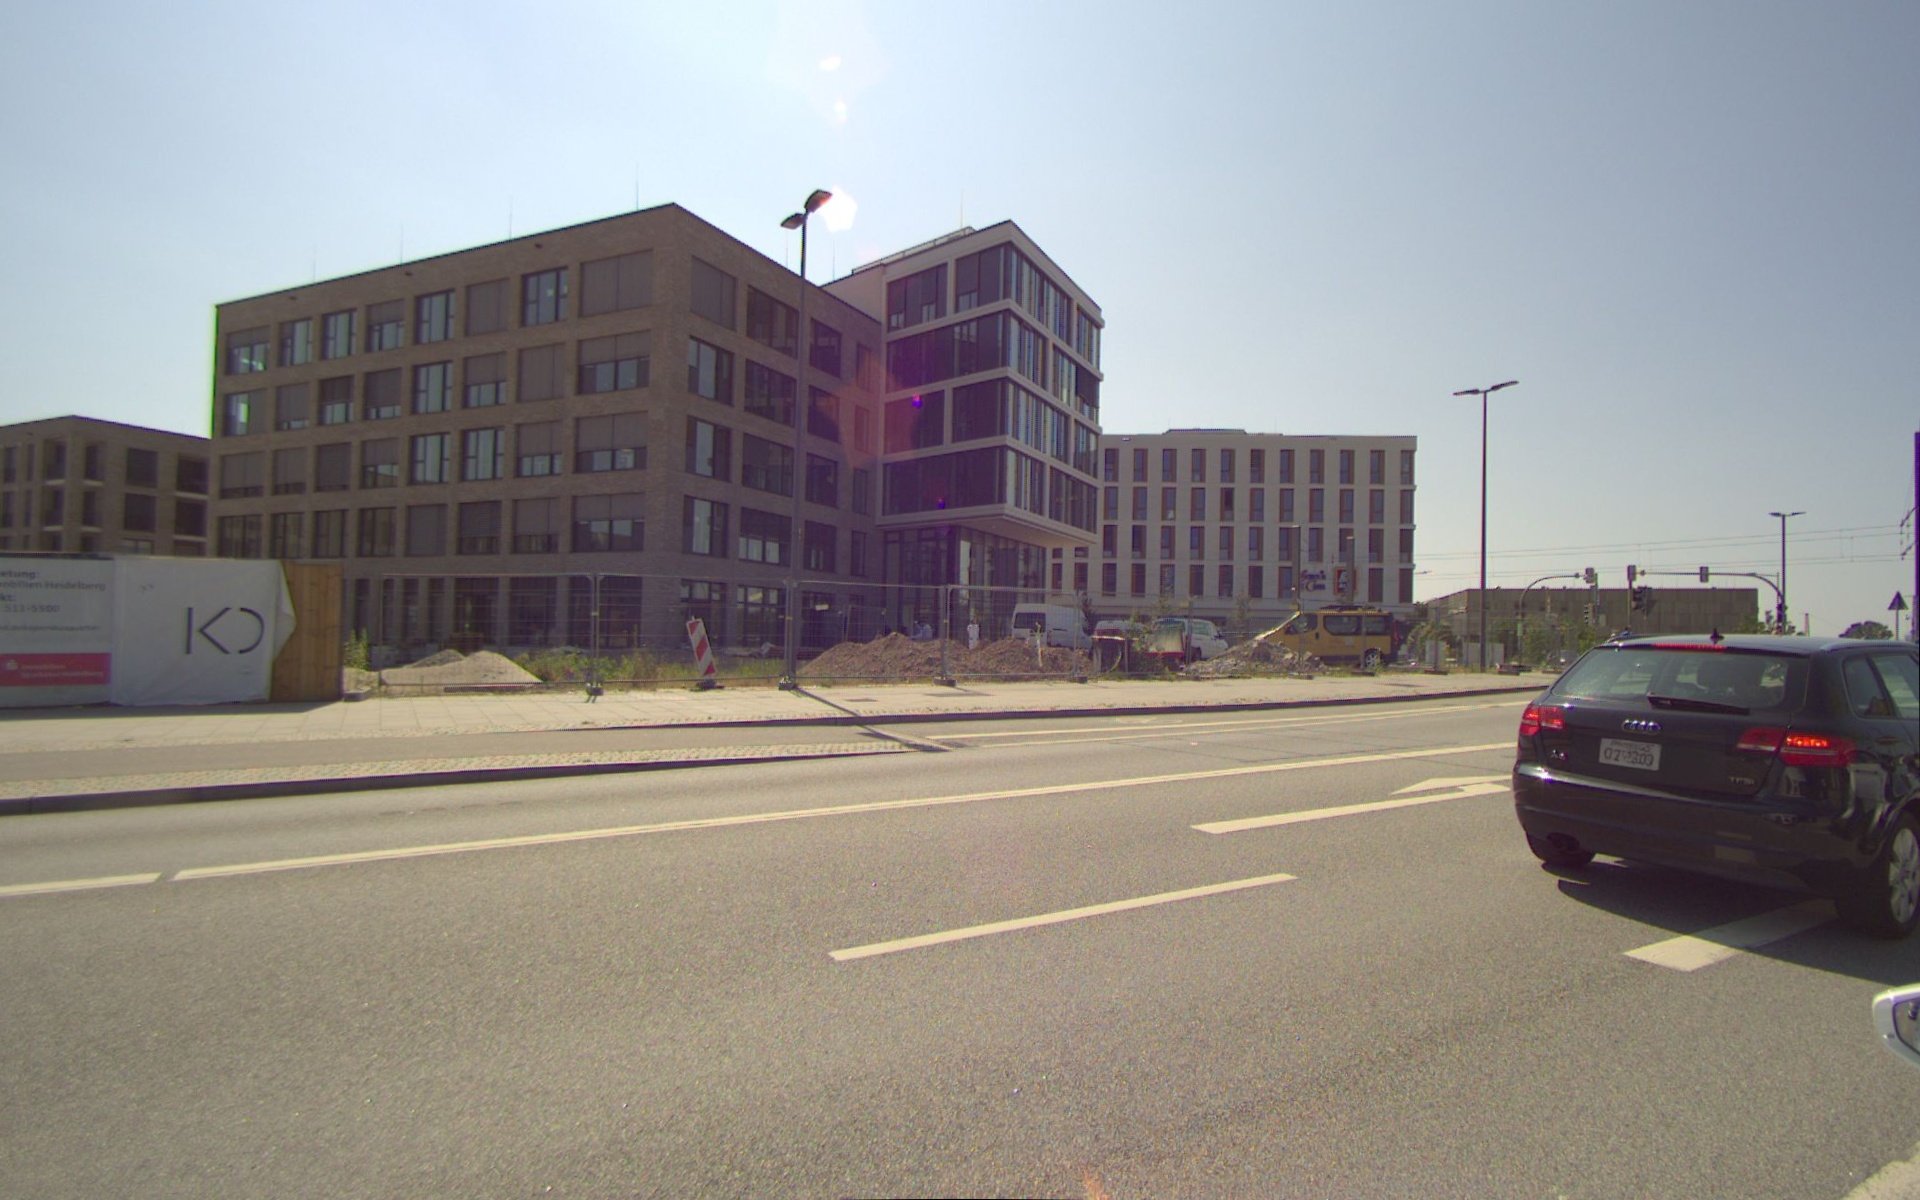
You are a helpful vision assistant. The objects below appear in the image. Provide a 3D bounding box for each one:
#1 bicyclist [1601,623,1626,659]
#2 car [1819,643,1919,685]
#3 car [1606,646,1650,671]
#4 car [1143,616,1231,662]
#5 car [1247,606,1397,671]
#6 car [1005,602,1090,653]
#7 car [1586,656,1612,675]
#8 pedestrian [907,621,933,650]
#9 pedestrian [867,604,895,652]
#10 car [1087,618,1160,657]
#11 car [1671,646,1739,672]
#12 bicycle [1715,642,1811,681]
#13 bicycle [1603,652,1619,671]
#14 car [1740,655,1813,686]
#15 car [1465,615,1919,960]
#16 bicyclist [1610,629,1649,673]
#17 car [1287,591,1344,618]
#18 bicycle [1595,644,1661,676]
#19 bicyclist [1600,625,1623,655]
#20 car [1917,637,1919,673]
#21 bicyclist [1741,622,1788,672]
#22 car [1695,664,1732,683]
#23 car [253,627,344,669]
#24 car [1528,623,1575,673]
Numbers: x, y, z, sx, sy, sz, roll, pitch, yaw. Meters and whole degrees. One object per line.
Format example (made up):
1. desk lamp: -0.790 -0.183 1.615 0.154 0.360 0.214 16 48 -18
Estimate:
1. bicyclist: 28.731 1.781 44.157 0.830 1.522 0.657 2 0 36
2. car: 49.412 3.442 54.478 1.964 2.040 3.994 2 -1 -9
3. car: 53.384 4.650 80.311 1.683 1.764 4.214 2 0 16
4. car: 9.564 1.621 42.151 1.969 1.730 4.546 2 0 35
5. car: 12.070 1.253 33.758 4.395 1.915 2.001 2 0 8
6. car: 3.949 1.226 44.652 2.175 2.083 4.164 2 0 30
7. car: 57.402 5.876 90.287 1.654 1.475 3.994 2 0 28
8. pedestrian: -1.985 1.743 49.440 1.099 1.391 0.742 2 0 -17
9. pedestrian: -3.425 1.208 43.426 0.949 2.040 0.940 2 0 -17
10. car: 7.161 1.606 43.720 1.773 1.528 3.991 2 0 31
11. car: 49.540 3.910 66.933 1.959 1.475 4.488 2 0 13
12. bicycle: 26.409 2.007 33.087 0.670 1.142 2.345 2 0 -31
13. bicycle: 26.833 2.517 41.407 0.507 0.701 2.247 1 -1 33
14. car: 44.997 3.858 55.430 1.554 1.458 3.155 2 0 4
15. car: 5.054 0.888 6.046 3.953 1.430 1.697 2 0 -30
16. bicyclist: 25.235 1.903 37.851 0.846 1.580 0.824 2 0 -3
17. car: 29.001 0.354 82.020 1.986 2.040 3.949 2 0 -43
18. bicycle: 25.210 2.288 37.978 0.714 1.148 2.533 -3 -4 -1
19. bicyclist: 26.850 1.657 41.420 0.718 1.191 0.658 2 0 31
20. car: 45.565 2.600 44.744 1.827 1.650 3.814 2 0 -16
21. bicyclist: 26.460 1.541 33.044 0.813 1.589 0.940 2 0 -30
22. car: 62.521 6.088 83.403 1.494 1.321 3.222 2 0 20
23. car: -30.427 2.174 46.221 3.708 1.675 1.834 2 0 26
24. car: 26.317 2.091 44.672 1.646 2.040 3.992 2 0 31
